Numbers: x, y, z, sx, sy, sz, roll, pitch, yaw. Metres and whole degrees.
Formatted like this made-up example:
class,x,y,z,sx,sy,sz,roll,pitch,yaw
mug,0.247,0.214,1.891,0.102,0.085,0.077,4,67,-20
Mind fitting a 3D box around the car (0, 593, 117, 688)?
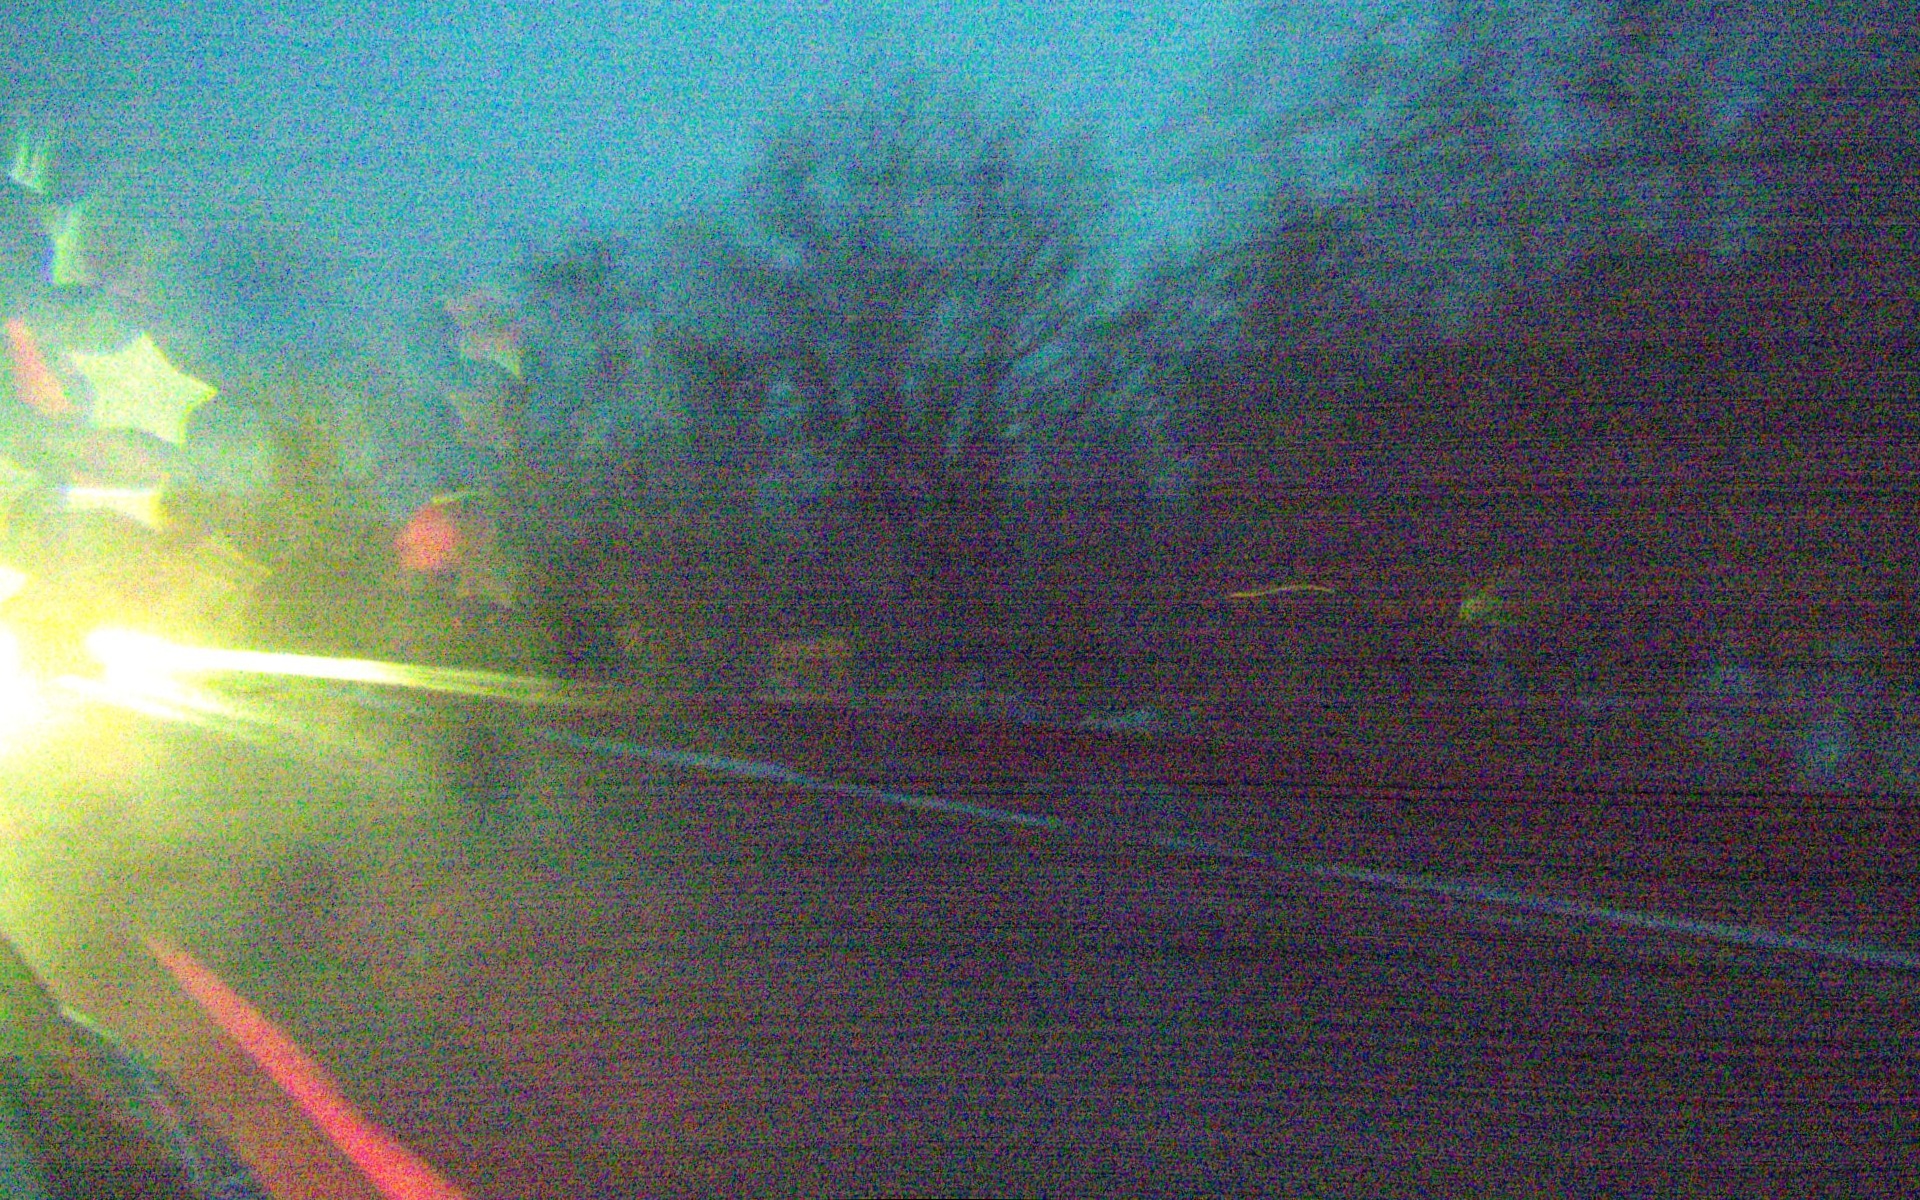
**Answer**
class,x,y,z,sx,sy,sz,roll,pitch,yaw
car,-19.392,0.804,21.217,4.256,1.763,1.973,-1,0,41
